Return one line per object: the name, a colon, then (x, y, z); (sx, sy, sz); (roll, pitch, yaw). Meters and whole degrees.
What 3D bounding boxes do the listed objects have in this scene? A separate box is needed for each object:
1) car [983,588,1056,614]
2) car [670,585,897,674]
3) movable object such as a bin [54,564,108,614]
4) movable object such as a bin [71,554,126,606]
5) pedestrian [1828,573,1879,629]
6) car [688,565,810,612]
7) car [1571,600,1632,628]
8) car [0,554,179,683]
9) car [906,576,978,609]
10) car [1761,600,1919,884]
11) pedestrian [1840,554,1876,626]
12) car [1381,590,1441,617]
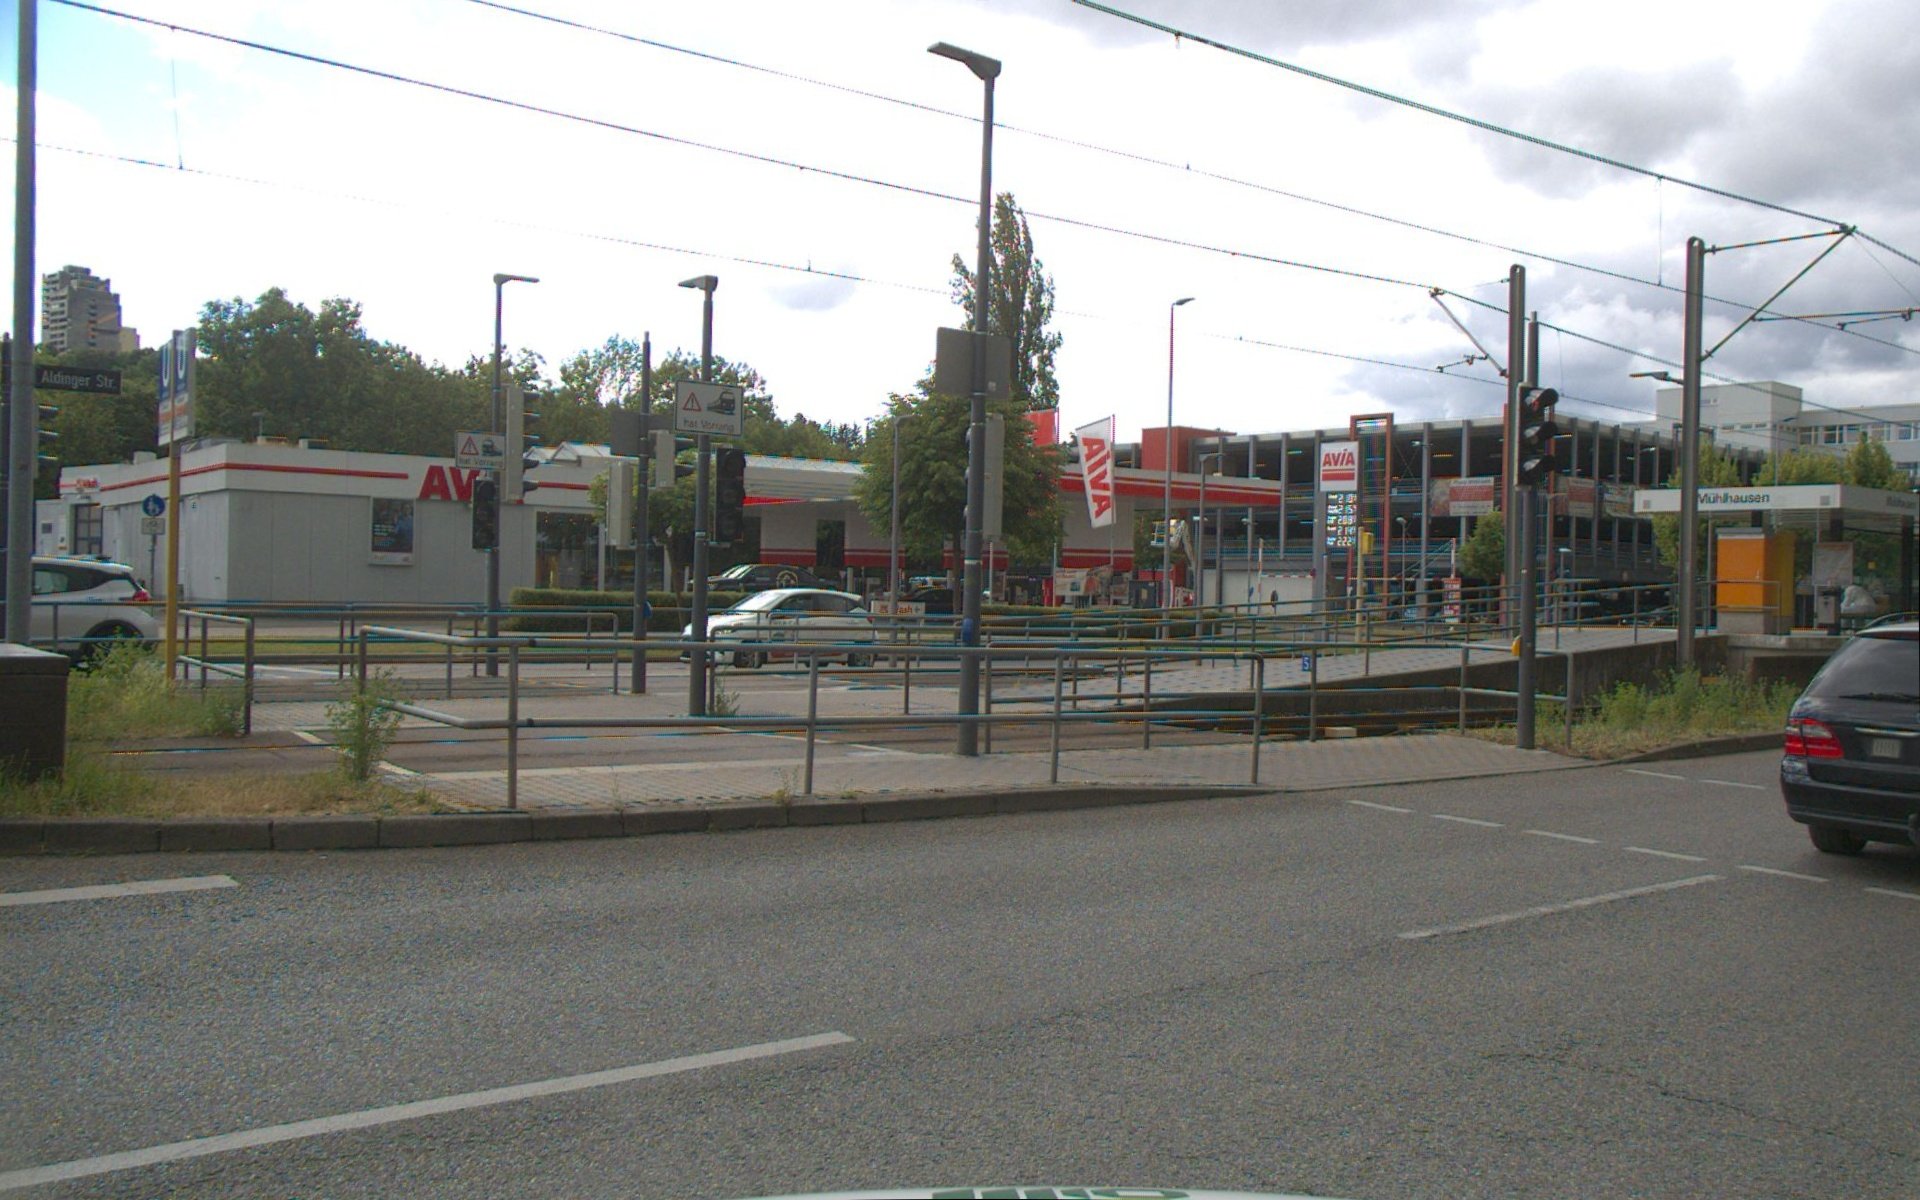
car: (3.384, 0.063, 93.687); (4.024, 1.389, 1.886); (2, -1, -42)
car: (-3.153, 0.542, 29.836); (3.789, 1.479, 1.610); (2, 0, -38)
movable object such as a bin: (-27.562, -0.328, 51.843); (1.356, 1.510, 1.091); (2, -1, -34)
movable object such as a bin: (-26.278, -0.590, 50.440); (1.356, 1.521, 1.091); (2, -1, -34)
pedestrian: (19.807, 0.029, 36.675); (0.720, 1.210, 0.761); (2, 0, -37)
car: (-6.780, -0.366, 53.353); (3.600, 1.373, 1.596); (1, 0, -39)
car: (38.034, 0.828, 97.992); (3.964, 1.566, 1.756); (2, -1, -41)
car: (-12.941, 0.224, 22.235); (4.087, 1.670, 1.724); (2, 0, -42)
car: (-1.049, -0.435, 96.927); (4.025, 1.783, 1.886); (2, -1, -43)
car: (6.831, 0.804, 10.406); (4.381, 1.503, 1.810); (1, 1, -44)
pedestrian: (20.994, -0.224, 38.666); (0.580, 1.649, 0.563); (2, -2, -41)
car: (25.868, 0.212, 94.811); (3.527, 1.440, 1.696); (2, -1, -41)
